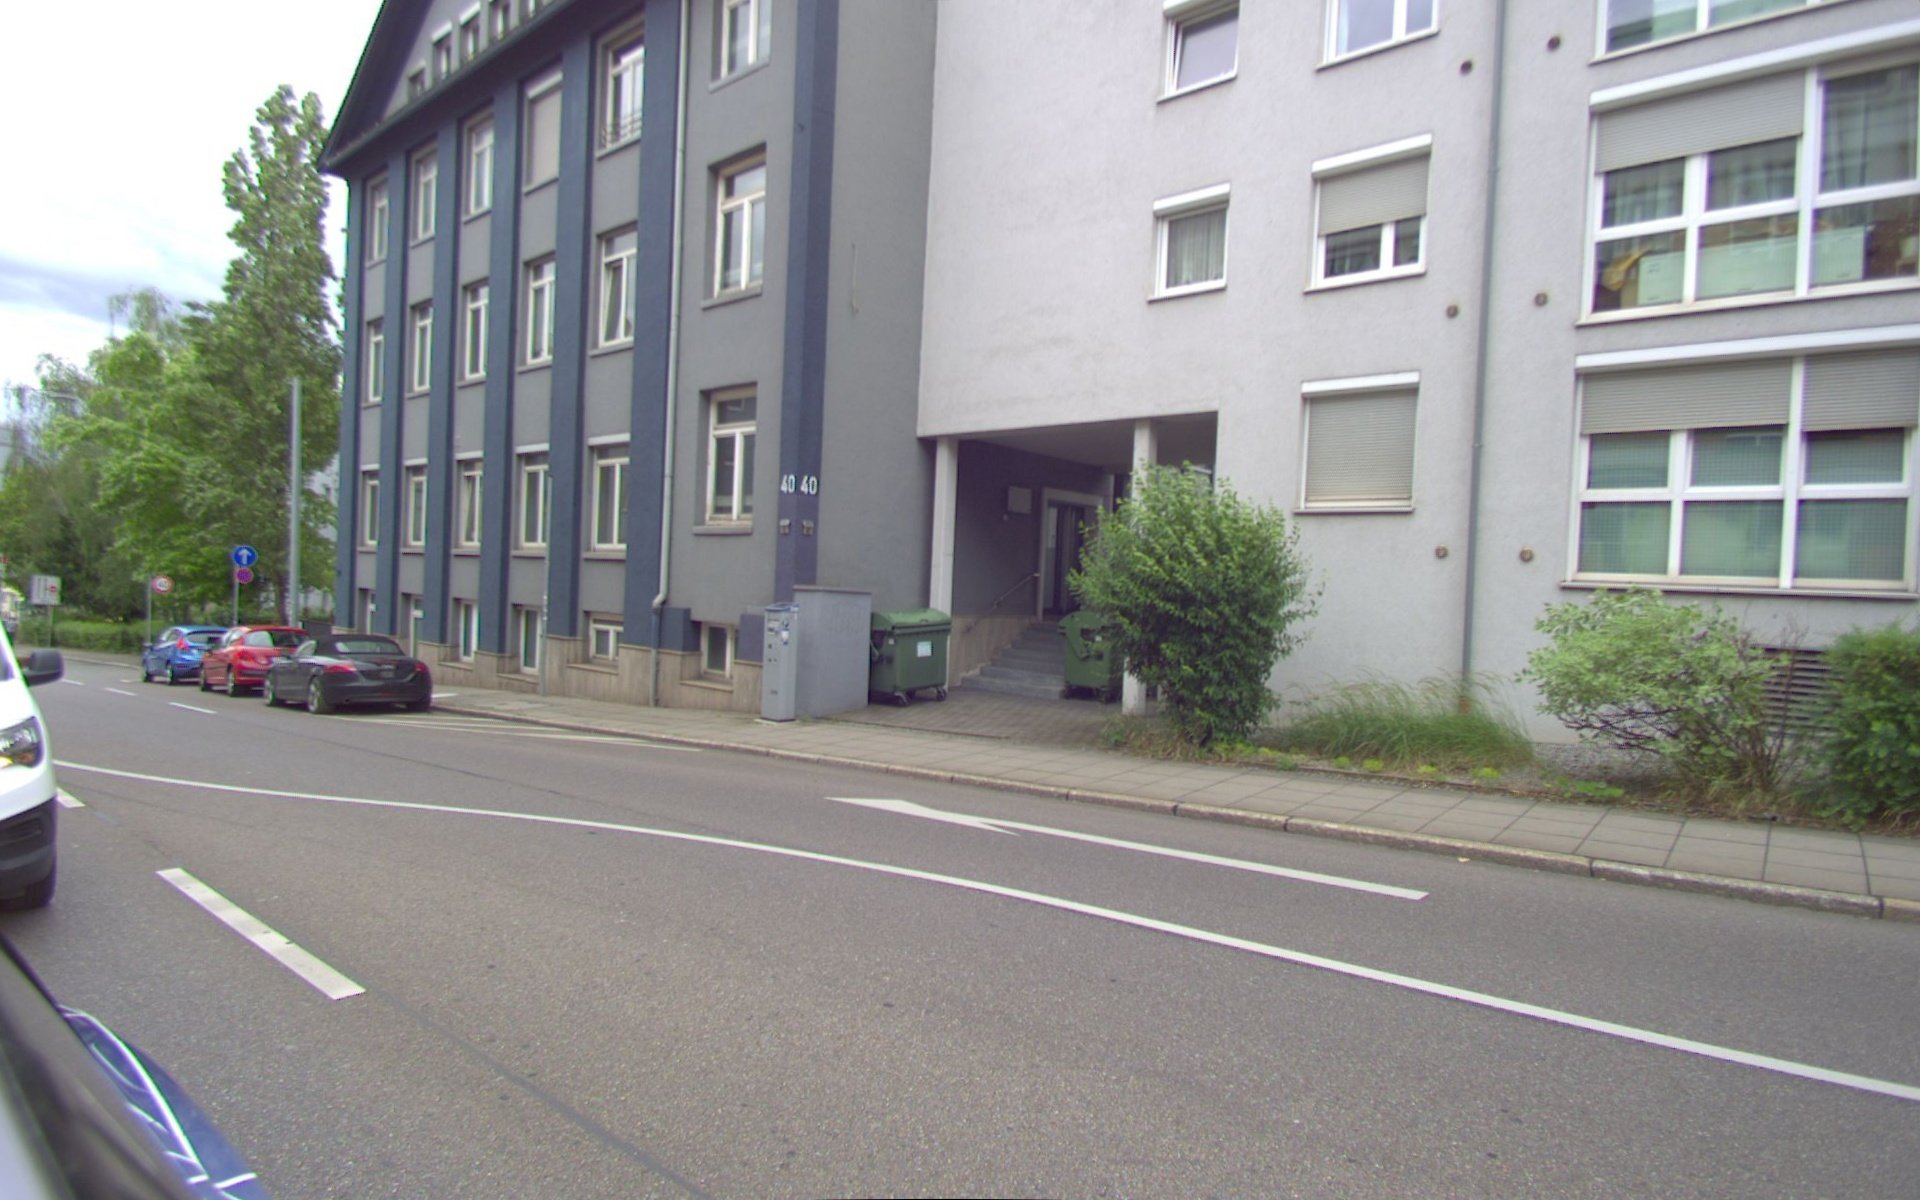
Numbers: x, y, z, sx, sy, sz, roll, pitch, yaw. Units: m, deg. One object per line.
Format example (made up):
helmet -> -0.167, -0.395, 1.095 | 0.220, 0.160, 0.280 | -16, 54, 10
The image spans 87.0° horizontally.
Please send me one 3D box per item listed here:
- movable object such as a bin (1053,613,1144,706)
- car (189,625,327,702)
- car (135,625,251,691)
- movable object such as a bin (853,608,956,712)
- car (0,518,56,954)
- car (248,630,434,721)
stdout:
movable object such as a bin -> 2.263, 0.933, 16.528 | 1.078, 1.427, 1.026 | -1, 0, 41
car -> -15.333, 1.321, 22.049 | 3.727, 1.460, 1.623 | -1, 0, 41
car -> -19.454, 1.407, 25.614 | 3.727, 1.460, 1.623 | -1, 0, 41
movable object such as a bin -> -0.858, 0.886, 15.716 | 1.039, 1.518, 1.213 | -1, 0, 41
car -> -6.138, 0.619, 5.225 | 3.998, 1.901, 1.716 | -1, 0, 41
car -> -11.081, 1.261, 18.037 | 3.727, 1.403, 1.778 | -1, -2, 41
